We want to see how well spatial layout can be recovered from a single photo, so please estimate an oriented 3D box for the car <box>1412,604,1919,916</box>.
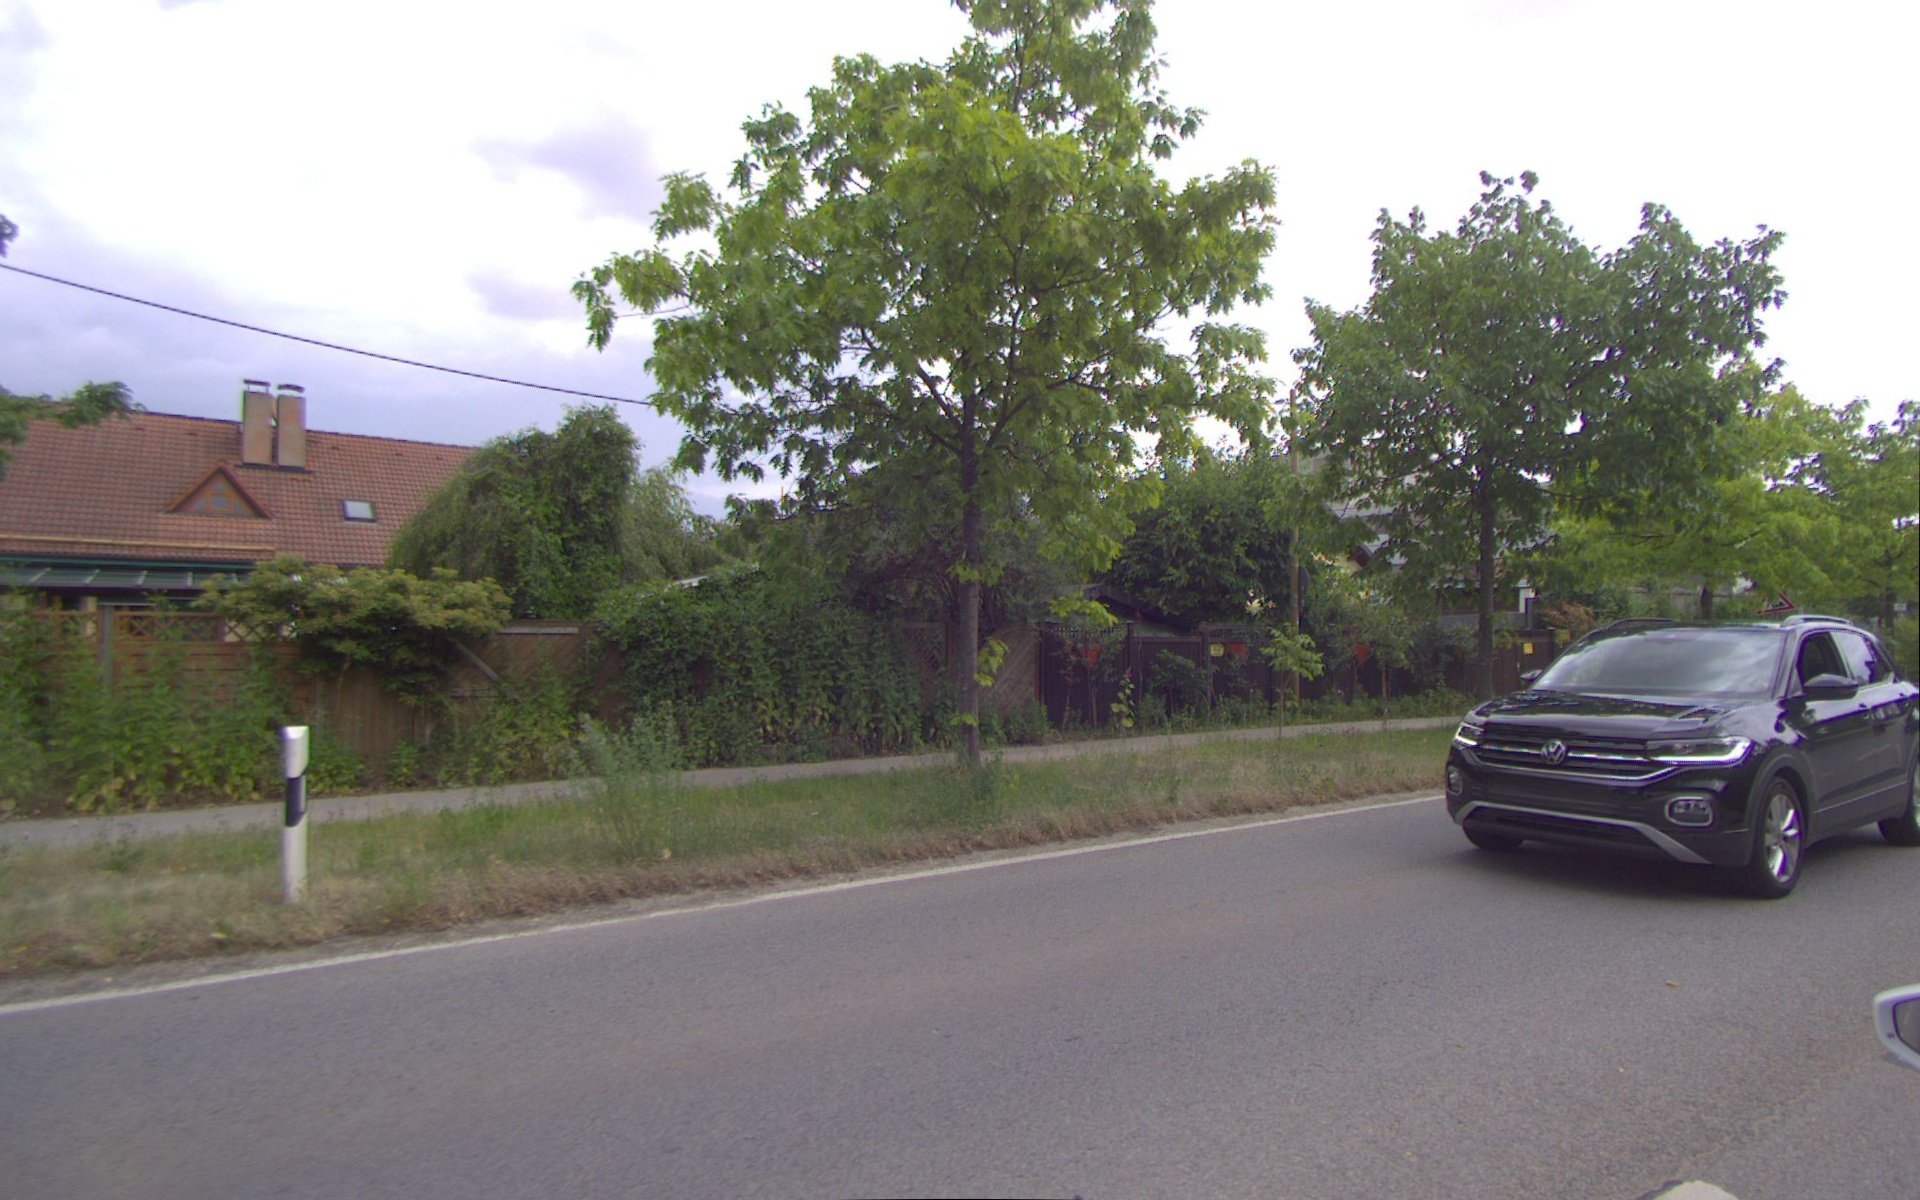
[{"bbox_3d":[5.085,0.878,6.878,4.051,1.554,1.723,1,-3,-33],"label":"car"}]
